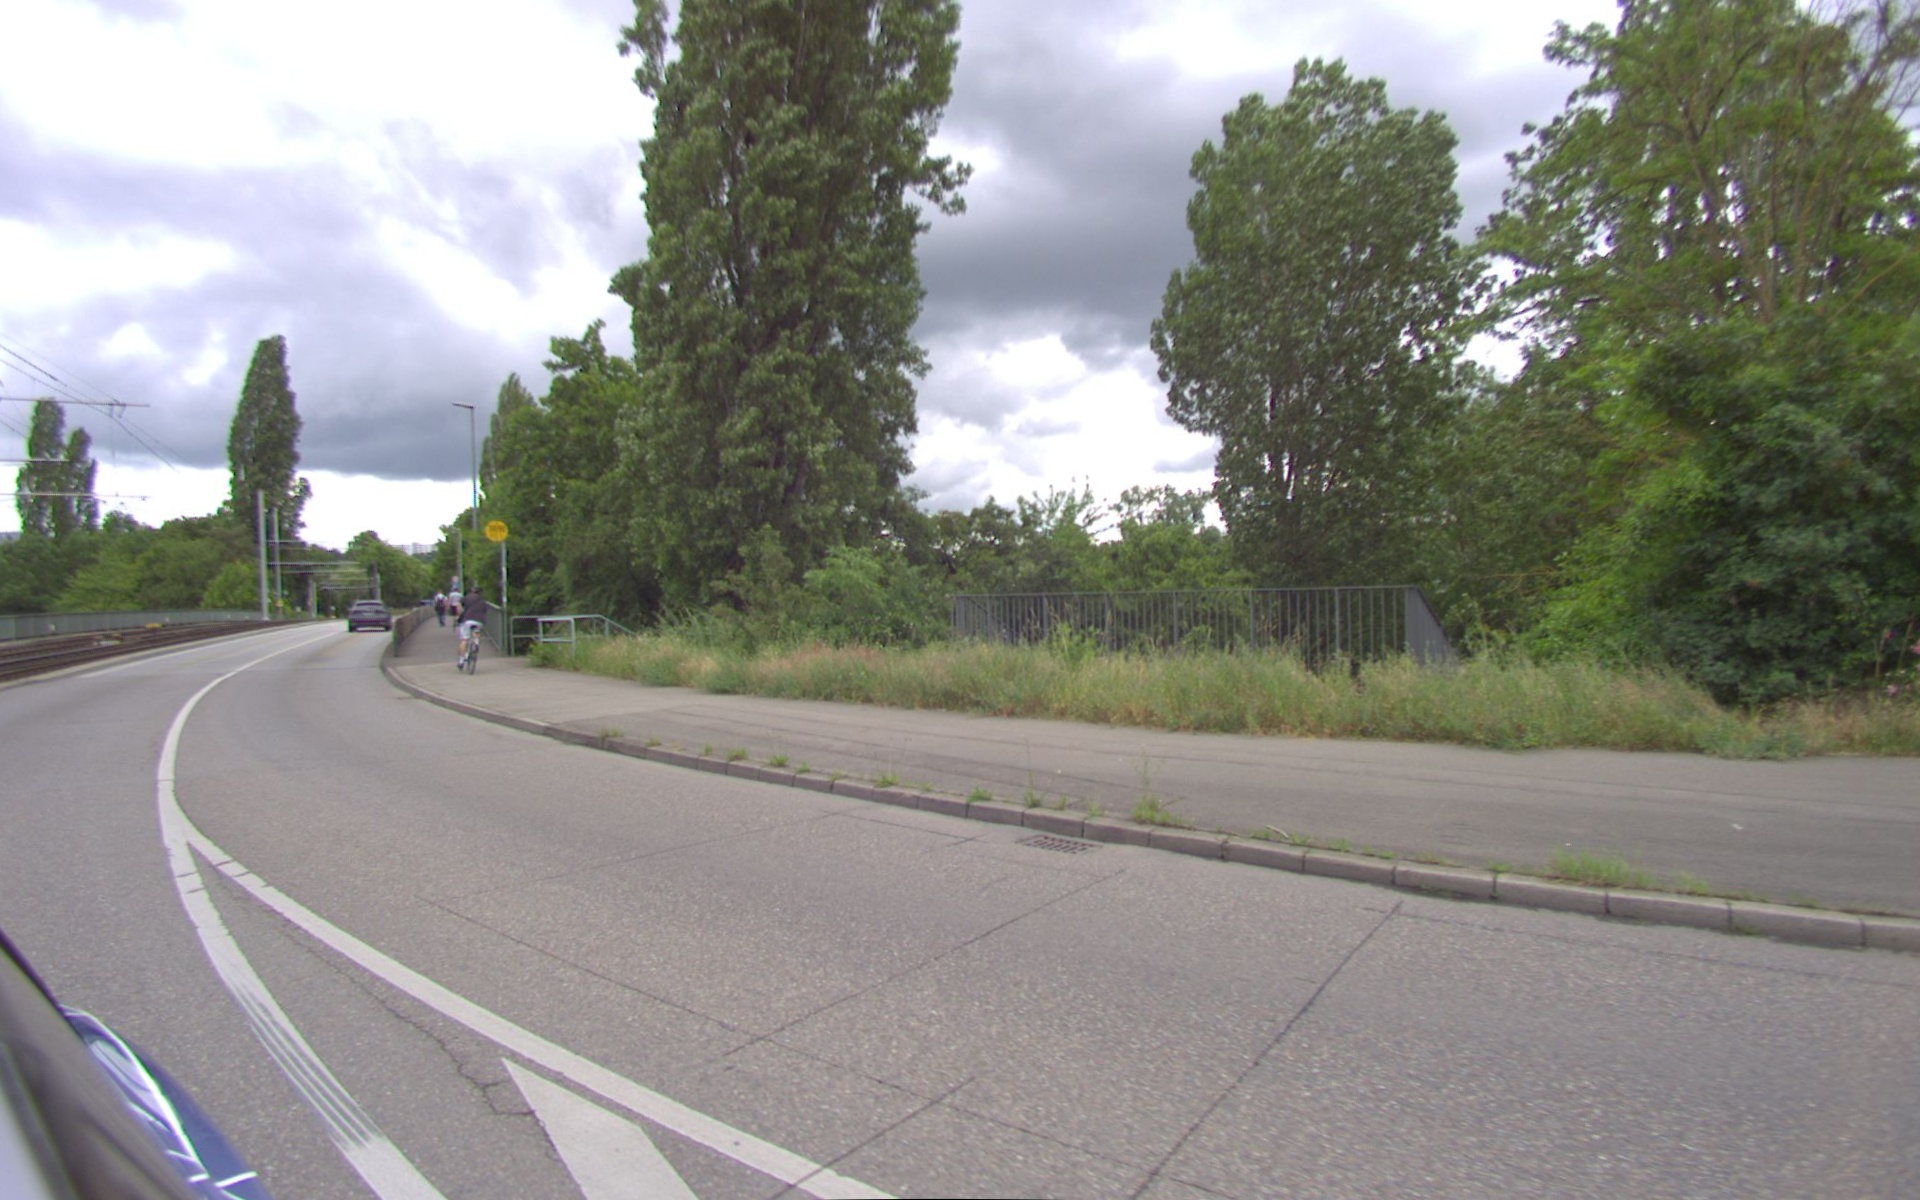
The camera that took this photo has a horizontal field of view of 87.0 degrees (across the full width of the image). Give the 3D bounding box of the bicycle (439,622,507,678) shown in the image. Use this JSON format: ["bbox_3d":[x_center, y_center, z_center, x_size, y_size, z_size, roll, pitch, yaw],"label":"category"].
[{"bbox_3d":[-10.330,1.023,21.422,0.727,1.080,1.883,-4,2,-43],"label":"bicycle"}]

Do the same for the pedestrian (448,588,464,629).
[{"bbox_3d":[-23.118,0.388,46.414,0.596,1.841,0.558,-3,1,-26],"label":"pedestrian"}]

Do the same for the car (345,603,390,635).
[{"bbox_3d":[-28.620,0.897,48.955,1.692,1.479,3.954,1,0,-28],"label":"car"}]

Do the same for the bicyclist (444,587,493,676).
[{"bbox_3d":[-10.429,0.655,21.469,0.619,1.822,0.901,-3,2,-44],"label":"bicyclist"}]

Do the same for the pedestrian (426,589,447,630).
[{"bbox_3d":[-24.030,0.408,46.476,0.769,1.841,0.728,-3,1,-26],"label":"pedestrian"}]
